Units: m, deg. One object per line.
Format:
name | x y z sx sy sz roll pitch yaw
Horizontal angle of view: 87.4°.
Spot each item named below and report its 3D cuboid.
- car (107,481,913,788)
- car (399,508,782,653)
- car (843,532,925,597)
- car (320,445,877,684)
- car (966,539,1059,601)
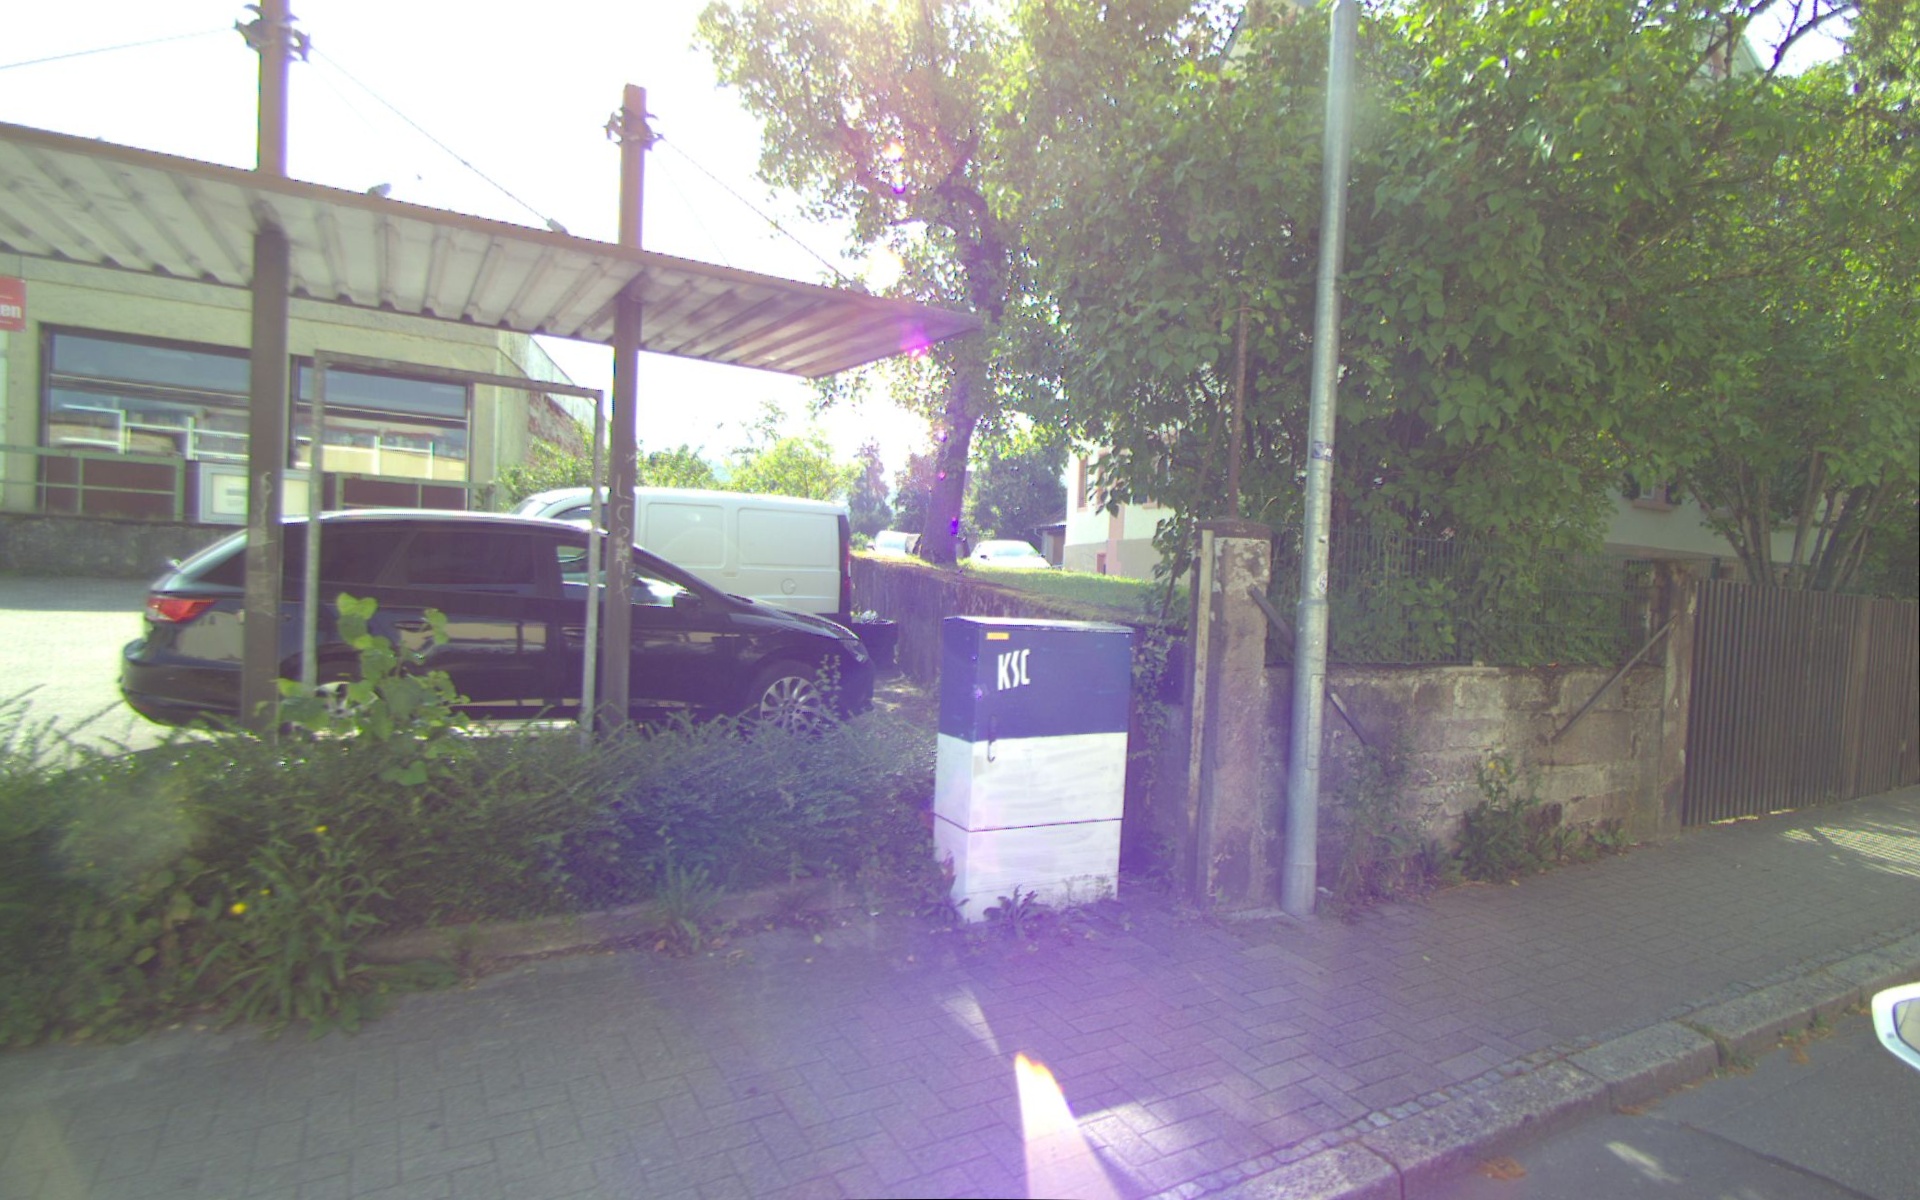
car | -2.624 0.151 6.632 4.343 1.482 1.607 1 3 -31
car | -4.295 -0.226 11.775 3.954 1.442 1.805 1 4 -31
car | -2.131 -1.014 27.247 1.781 1.526 3.991 2 4 -10
car | -3.295 -0.285 9.542 4.630 1.796 1.812 2 4 -32
car | 1.427 -0.923 28.863 1.781 1.526 3.991 2 4 -10
